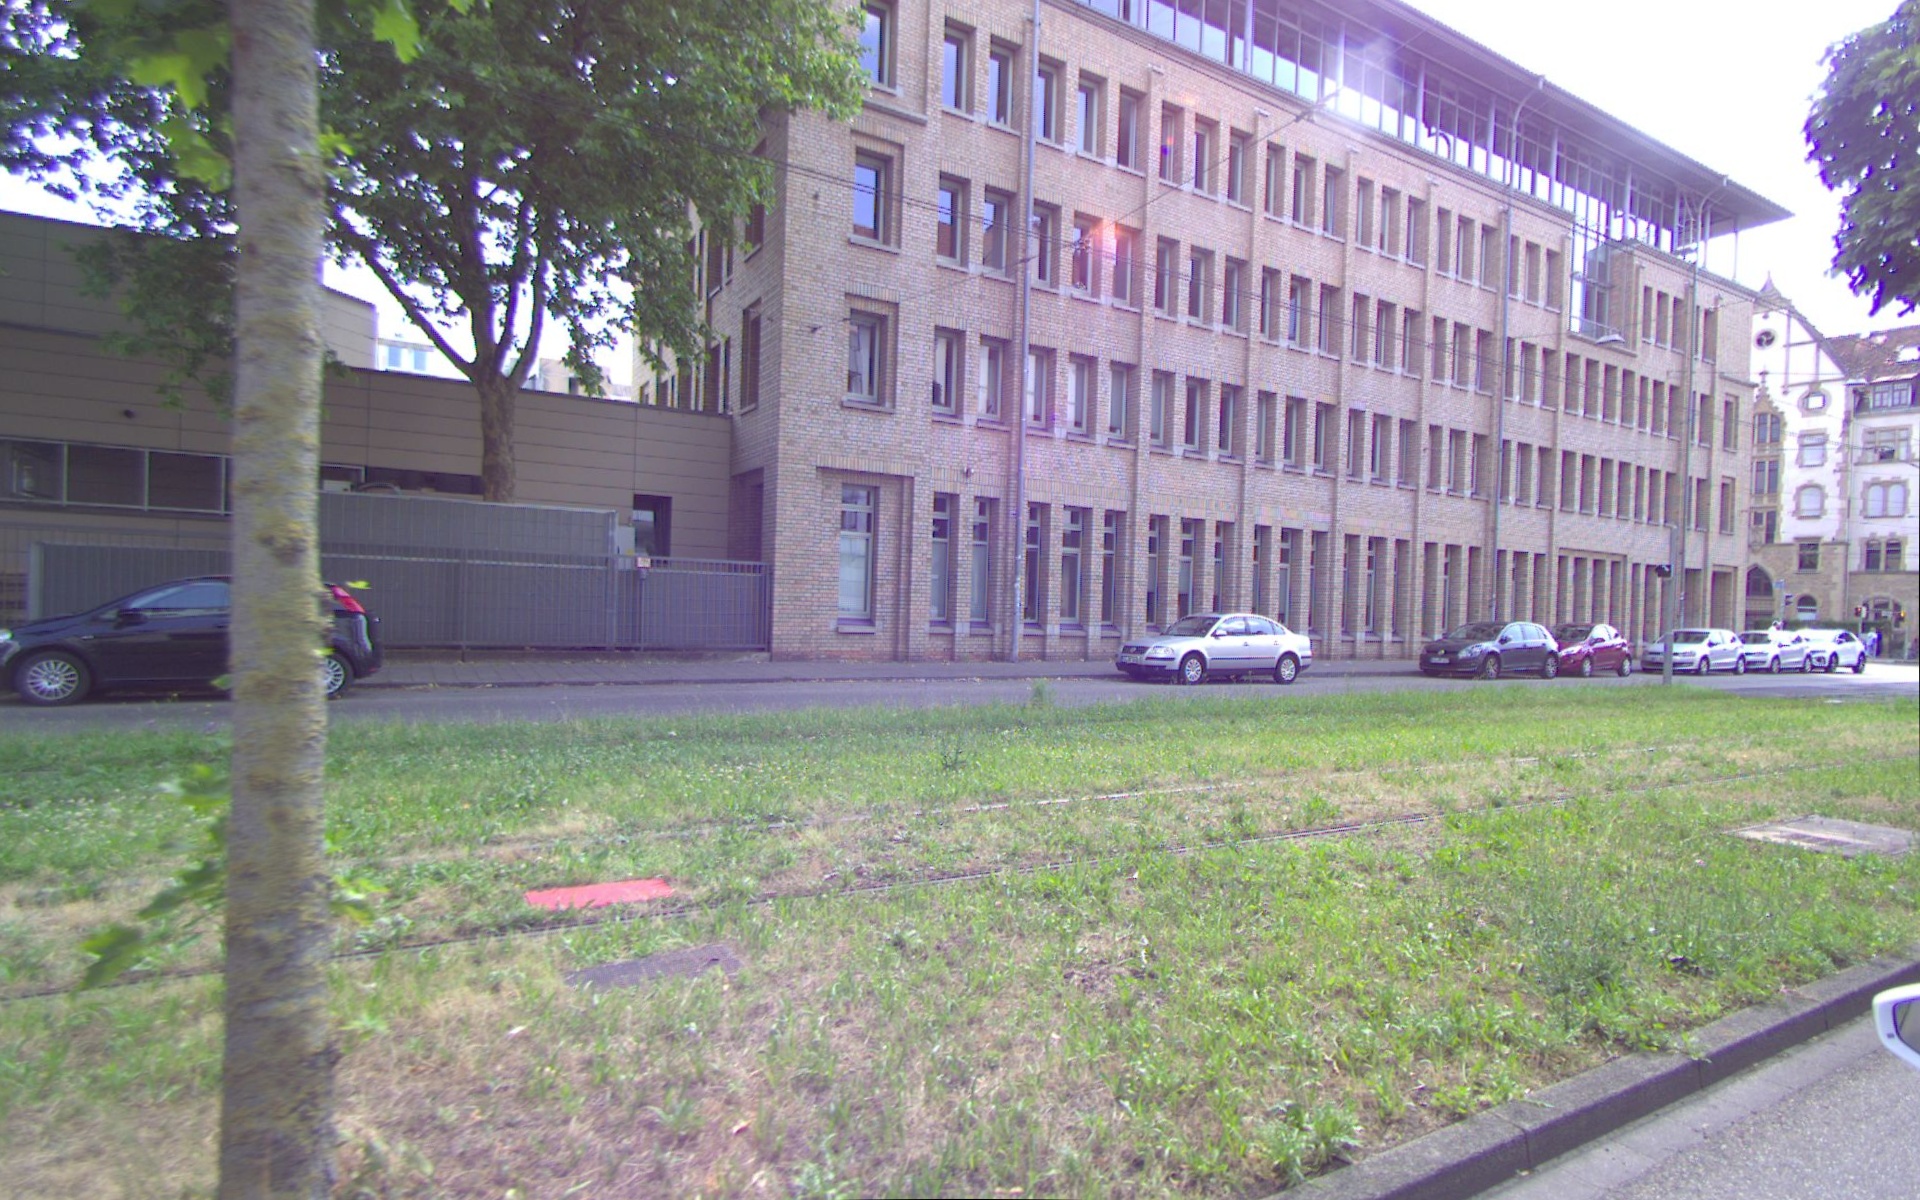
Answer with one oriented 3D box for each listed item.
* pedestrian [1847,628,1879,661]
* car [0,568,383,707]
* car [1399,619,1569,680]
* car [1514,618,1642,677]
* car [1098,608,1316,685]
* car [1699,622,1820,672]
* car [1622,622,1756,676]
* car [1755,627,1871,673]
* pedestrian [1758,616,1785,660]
[{"bbox_3d":[48.778,2.398,54.257,1.003,1.745,0.776,2,0,16],"label":"pedestrian"},{"bbox_3d":[-9.298,0.426,12.082,3.950,1.472,1.796,2,0,-28],"label":"car"},{"bbox_3d":[13.571,1.274,25.975,4.188,1.415,1.924,2,0,-30],"label":"car"},{"bbox_3d":[17.472,1.335,28.367,3.507,1.551,1.575,2,0,-30],"label":"car"},{"bbox_3d":[5.167,0.954,20.888,4.431,1.415,1.707,2,0,-30],"label":"car"},{"bbox_3d":[27.559,1.611,34.615,3.966,1.551,1.924,2,0,-30],"label":"car"},{"bbox_3d":[23.055,1.534,31.746,4.160,1.551,1.842,2,0,-30],"label":"car"},{"bbox_3d":[31.283,1.828,36.826,4.207,1.555,1.924,2,0,-30],"label":"car"},{"bbox_3d":[34.266,1.601,42.420,0.749,1.819,0.957,2,0,35],"label":"pedestrian"}]
